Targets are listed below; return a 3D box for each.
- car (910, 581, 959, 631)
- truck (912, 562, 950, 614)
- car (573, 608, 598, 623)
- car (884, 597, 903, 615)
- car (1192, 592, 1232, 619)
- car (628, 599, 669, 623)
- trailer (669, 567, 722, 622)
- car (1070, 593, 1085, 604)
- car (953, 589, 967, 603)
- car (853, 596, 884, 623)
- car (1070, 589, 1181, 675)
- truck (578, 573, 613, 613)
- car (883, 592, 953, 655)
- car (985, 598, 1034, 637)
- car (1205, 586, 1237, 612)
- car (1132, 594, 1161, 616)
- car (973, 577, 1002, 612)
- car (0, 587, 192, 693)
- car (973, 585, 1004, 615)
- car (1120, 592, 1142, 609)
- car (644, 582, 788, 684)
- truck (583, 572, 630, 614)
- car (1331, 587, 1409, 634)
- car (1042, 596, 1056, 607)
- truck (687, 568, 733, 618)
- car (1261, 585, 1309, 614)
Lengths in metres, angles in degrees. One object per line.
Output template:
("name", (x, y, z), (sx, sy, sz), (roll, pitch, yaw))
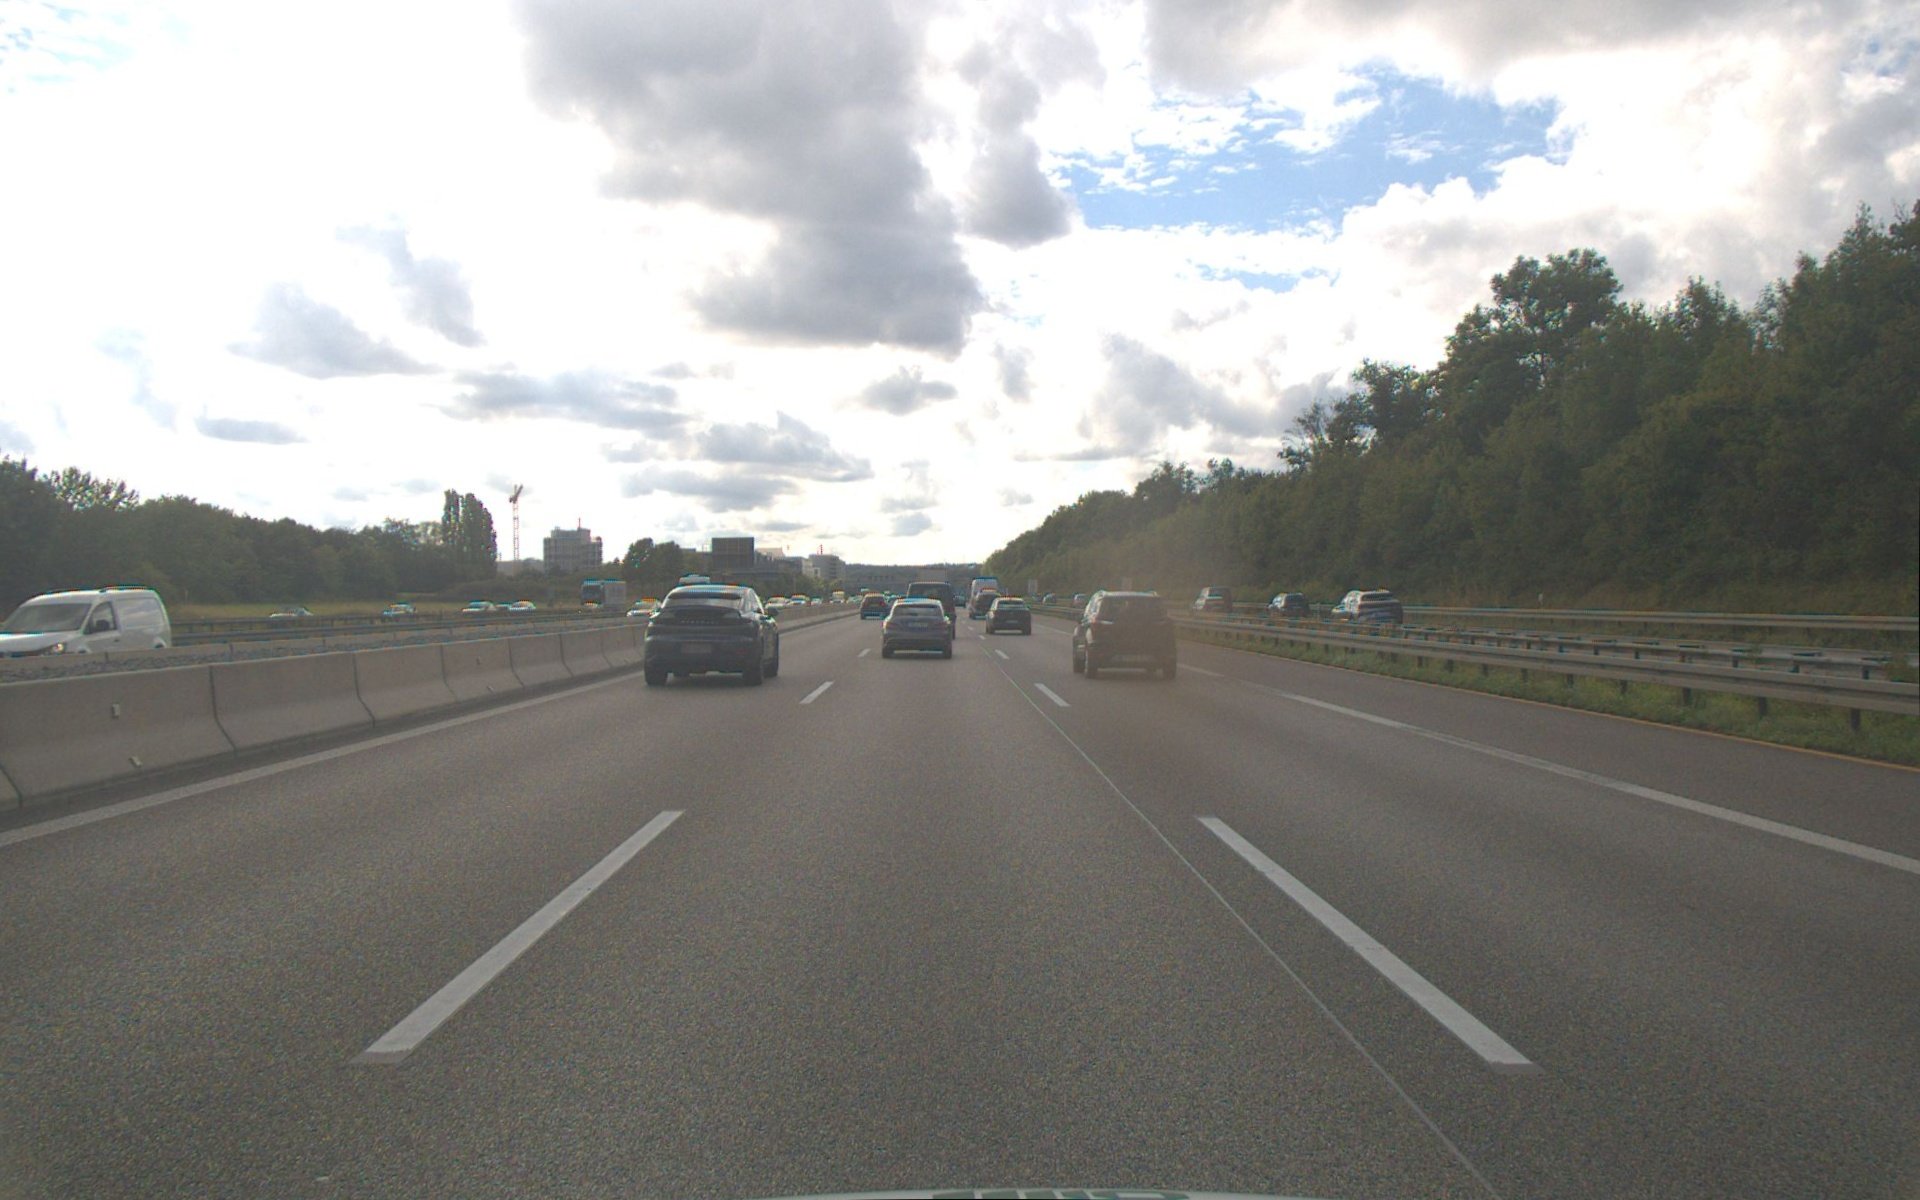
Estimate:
("car", (-0.938, 0.198, 59.900), (1.686, 1.754, 4.390), (0, 0, -1))
("truck", (-2.641, -1.092, 149.924), (3.197, 4.451, 11.023), (1, 0, -1))
("car", (-39.311, 1.603, 173.813), (1.694, 1.560, 4.451), (0, 0, -1))
("car", (-6.109, 0.524, 151.736), (1.663, 1.639, 4.112), (0, 0, -2))
("car", (15.004, 0.323, 98.644), (1.563, 1.573, 4.188), (0, 0, -3))
("car", (-17.847, 0.629, 94.903), (1.548, 1.306, 4.240), (0, 0, -1))
("trailer", (-22.102, -0.473, 138.641), (2.985, 4.364, 10.652), (0, 0, -2))
("car", (15.981, -0.193, 224.951), (1.717, 1.543, 4.188), (0, 0, -2))
("car", (-0.027, -0.497, 213.455), (1.716, 1.725, 4.189), (0, 0, -1))
("car", (-5.901, 0.594, 106.815), (1.835, 1.728, 4.071), (0, 0, -1))
("car", (3.200, 0.585, 32.686), (1.663, 1.592, 4.112), (0, 0, -2))
("truck", (-43.125, -0.834, 195.785), (2.984, 4.740, 5.071), (0, 0, 0))
("car", (-1.054, 0.549, 41.988), (1.686, 1.505, 4.390), (0, 0, -1))
("car", (2.016, 0.695, 67.779), (1.795, 1.547, 4.224), (0, 0, -1))
("car", (18.575, -0.081, 117.922), (1.563, 1.835, 3.823), (0, 0, -3))
("car", (14.620, 0.369, 129.737), (1.716, 1.725, 4.189), (0, 0, -1))
("car", (1.907, -0.381, 115.660), (1.835, 2.399, 4.281), (0, 0, -1))
("car", (-16.428, 0.682, 31.105), (1.698, 1.826, 5.123), (0, 0, -2))
("car", (1.850, -0.014, 108.897), (1.874, 1.952, 4.029), (0, 0, -1))
("car", (17.053, 0.070, 165.049), (1.716, 1.725, 4.189), (0, 0, -1))
("car", (-4.268, 0.530, 29.708), (1.873, 1.664, 5.499), (0, 0, -1))
("truck", (-43.190, -0.823, 202.661), (3.011, 4.887, 14.124), (0, 0, -1))
("car", (15.801, 0.370, 63.947), (1.809, 1.679, 4.305), (-2, 0, -1))
("car", (12.455, 0.174, 231.750), (1.694, 1.560, 4.451), (-1, 0, -1))
("truck", (-22.379, -0.608, 148.578), (2.985, 4.364, 8.586), (0, 0, -2))
("car", (18.495, -0.052, 94.343), (1.694, 1.573, 4.303), (-2, 0, -3))
